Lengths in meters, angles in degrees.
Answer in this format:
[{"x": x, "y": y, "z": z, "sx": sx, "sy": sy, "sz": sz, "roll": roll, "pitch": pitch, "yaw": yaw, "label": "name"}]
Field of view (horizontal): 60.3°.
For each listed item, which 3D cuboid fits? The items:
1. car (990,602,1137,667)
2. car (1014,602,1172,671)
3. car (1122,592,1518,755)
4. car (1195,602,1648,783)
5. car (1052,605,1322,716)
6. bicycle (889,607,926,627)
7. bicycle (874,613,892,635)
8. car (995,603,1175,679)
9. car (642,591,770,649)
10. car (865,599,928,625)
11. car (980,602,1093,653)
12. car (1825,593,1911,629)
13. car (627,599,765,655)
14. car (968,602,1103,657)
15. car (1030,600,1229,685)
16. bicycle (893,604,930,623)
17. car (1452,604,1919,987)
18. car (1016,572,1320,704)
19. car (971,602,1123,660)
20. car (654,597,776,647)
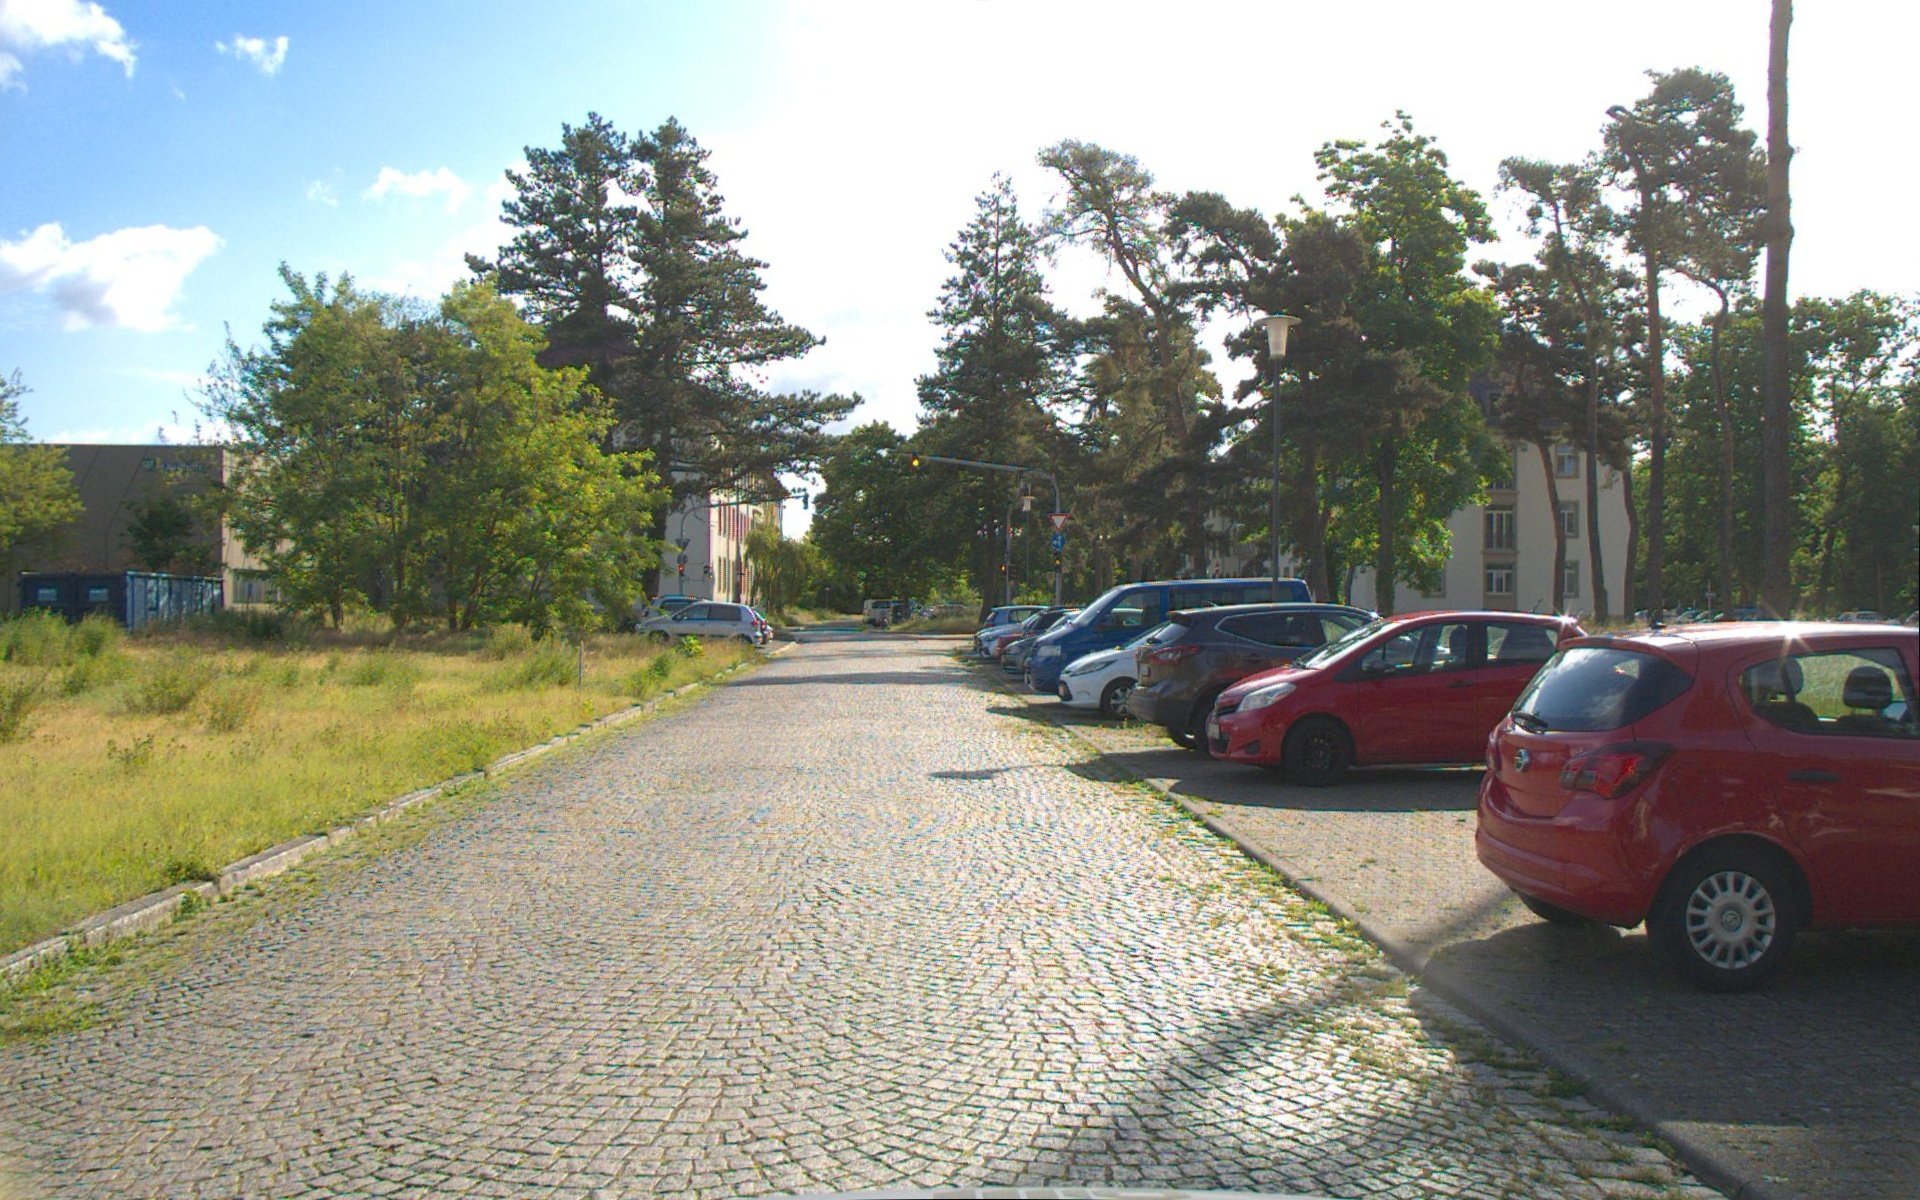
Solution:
[{"x": 2.511, "y": 0.819, "z": 40.586, "sx": 3.409, "sy": 1.556, "sz": 1.644, "roll": 0, "pitch": 0, "yaw": -4, "label": "car"}, {"x": 3.017, "y": 0.820, "z": 37.918, "sx": 3.409, "sy": 1.556, "sz": 1.644, "roll": 0, "pitch": 0, "yaw": -4, "label": "car"}, {"x": 3.800, "y": 0.750, "z": 17.862, "sx": 3.858, "sy": 1.650, "sz": 1.770, "roll": 0, "pitch": 0, "yaw": -4, "label": "car"}, {"x": 4.148, "y": 0.801, "z": 15.202, "sx": 3.688, "sy": 1.557, "sz": 1.644, "roll": 0, "pitch": 0, "yaw": -4, "label": "car"}, {"x": 3.282, "y": 0.848, "z": 24.258, "sx": 3.647, "sy": 1.514, "sz": 1.643, "roll": -1, "pitch": 0, "yaw": -5, "label": "car"}, {"x": -3.142, "y": 1.024, "z": 99.279, "sx": 2.135, "sy": 1.119, "sz": 0.804, "roll": 1, "pitch": 0, "yaw": -13, "label": "bicycle"}, {"x": -4.444, "y": 1.387, "z": 95.743, "sx": 0.789, "sy": 1.190, "sz": 2.176, "roll": -1, "pitch": 0, "yaw": -9, "label": "bicycle"}, {"x": 2.604, "y": 0.846, "z": 34.975, "sx": 3.603, "sy": 1.493, "sz": 1.644, "roll": -1, "pitch": 0, "yaw": -4, "label": "car"}, {"x": -8.352, "y": 0.647, "z": 54.585, "sx": 3.908, "sy": 1.629, "sz": 1.999, "roll": 4, "pitch": 0, "yaw": -4, "label": "car"}, {"x": -4.492, "y": 0.826, "z": 116.695, "sx": 4.391, "sy": 1.758, "sz": 1.999, "roll": 1, "pitch": 0, "yaw": -4, "label": "car"}, {"x": 2.322, "y": 0.830, "z": 50.536, "sx": 3.278, "sy": 1.509, "sz": 1.644, "roll": 0, "pitch": 0, "yaw": -4, "label": "car"}, {"x": 52.479, "y": 0.618, "z": 95.640, "sx": 3.907, "sy": 2.049, "sz": 1.999, "roll": 0, "pitch": 0, "yaw": -3, "label": "car"}, {"x": -7.812, "y": 0.788, "z": 49.219, "sx": 3.910, "sy": 1.628, "sz": 1.998, "roll": 0, "pitch": 0, "yaw": -6, "label": "car"}, {"x": 2.155, "y": 0.850, "z": 47.884, "sx": 3.760, "sy": 1.556, "sz": 1.644, "roll": 0, "pitch": 0, "yaw": -4, "label": "car"}, {"x": 3.253, "y": 0.796, "z": 32.120, "sx": 3.620, "sy": 1.491, "sz": 1.645, "roll": -2, "pitch": 0, "yaw": -2, "label": "car"}, {"x": -2.948, "y": 0.806, "z": 100.357, "sx": 2.135, "sy": 1.119, "sz": 0.804, "roll": 1, "pitch": 0, "yaw": -13, "label": "bicycle"}, {"x": 4.396, "y": 0.783, "z": 7.615, "sx": 3.751, "sy": 1.504, "sz": 1.644, "roll": -1, "pitch": 0, "yaw": -4, "label": "car"}, {"x": 3.315, "y": 0.587, "z": 26.942, "sx": 4.586, "sy": 2.049, "sz": 2.081, "roll": 0, "pitch": 0, "yaw": -6, "label": "car"}, {"x": 2.342, "y": 0.824, "z": 45.120, "sx": 3.957, "sy": 1.556, "sz": 1.643, "roll": 0, "pitch": 0, "yaw": -7, "label": "car"}, {"x": -8.401, "y": 0.754, "z": 56.985, "sx": 3.908, "sy": 1.478, "sz": 1.999, "roll": 3, "pitch": 0, "yaw": -4, "label": "car"}]
